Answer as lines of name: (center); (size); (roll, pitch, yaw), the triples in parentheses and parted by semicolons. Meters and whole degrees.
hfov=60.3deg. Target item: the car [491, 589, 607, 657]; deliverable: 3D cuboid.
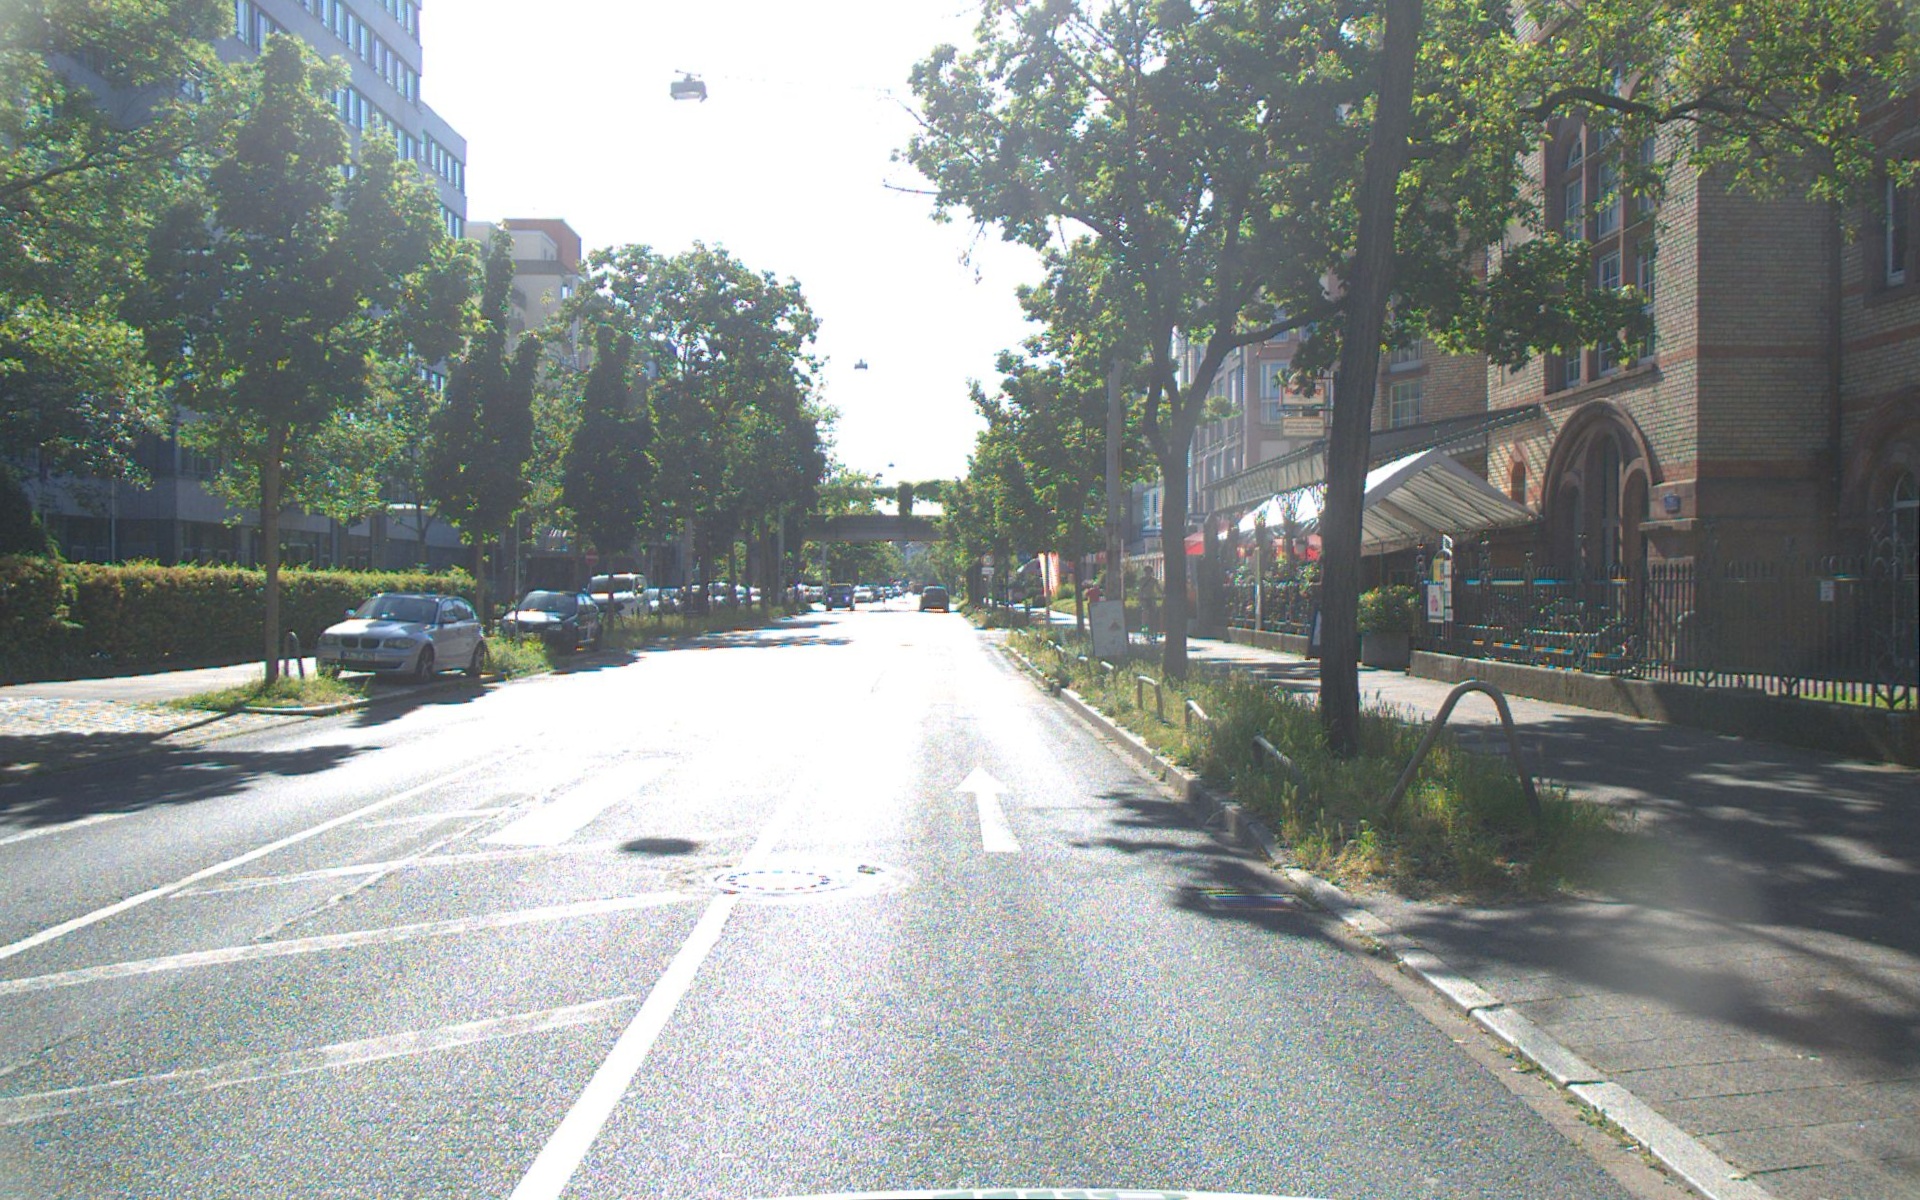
car: (-9.612, 0.509, 39.001); (1.677, 1.484, 4.072); (1, 0, 0)

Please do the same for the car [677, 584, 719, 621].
car: (-12.885, 0.111, 81.427); (1.820, 1.713, 4.658); (1, 0, -7)

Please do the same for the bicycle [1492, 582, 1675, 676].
bicycle: (8.043, 0.375, 21.374); (2.154, 1.199, 0.686); (0, -1, -8)

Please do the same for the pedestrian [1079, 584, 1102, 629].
pedestrian: (4.790, 0.235, 60.618); (0.641, 1.632, 0.602); (-3, 0, -7)

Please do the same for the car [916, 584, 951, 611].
car: (-1.636, -0.162, 100.801); (1.945, 1.628, 4.138); (1, 0, -3)

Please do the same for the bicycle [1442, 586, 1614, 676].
bicycle: (7.742, 0.423, 22.583); (2.154, 1.199, 0.686); (0, -1, -8)

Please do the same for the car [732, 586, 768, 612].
car: (-13.307, -0.067, 104.916); (1.818, 1.549, 4.317); (1, 0, -2)

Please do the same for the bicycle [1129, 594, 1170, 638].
bicycle: (4.548, 0.384, 39.758); (0.671, 1.045, 2.095); (0, -1, -2)

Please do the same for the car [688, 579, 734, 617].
car: (-13.115, -0.122, 87.341); (1.818, 1.882, 4.560); (1, 0, -2)

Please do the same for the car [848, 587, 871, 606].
car: (-8.716, -0.315, 143.995); (1.818, 1.595, 4.713); (-1, 0, -2)

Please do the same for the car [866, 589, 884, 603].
car: (-9.002, -0.435, 174.848); (1.818, 1.465, 4.317); (-2, 0, -2)

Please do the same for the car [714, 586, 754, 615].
car: (-13.000, 0.035, 95.372); (1.818, 1.595, 3.871); (1, 0, -1)

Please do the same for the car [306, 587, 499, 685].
car: (-9.225, 0.544, 27.719); (1.653, 1.407, 4.192); (4, 0, 1)

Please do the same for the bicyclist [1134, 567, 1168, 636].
bicyclist: (4.569, 0.032, 39.623); (0.686, 1.627, 0.954); (0, -1, -2)

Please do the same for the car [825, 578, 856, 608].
car: (-7.916, -0.478, 109.872); (1.818, 1.857, 4.608); (-1, 0, -2)

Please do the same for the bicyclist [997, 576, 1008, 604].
bicyclist: (2.678, -0.645, 104.653); (0.654, 1.725, 0.889); (1, -1, -2)

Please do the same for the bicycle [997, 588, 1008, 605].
bicycle: (2.661, -0.217, 104.829); (0.577, 1.045, 1.859); (0, -1, -2)

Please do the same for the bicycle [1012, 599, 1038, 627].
bicycle: (2.538, 0.497, 64.545); (0.578, 1.084, 2.024); (0, 0, 15)

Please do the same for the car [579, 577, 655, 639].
car: (-12.439, 0.257, 60.242); (1.942, 2.113, 5.193); (-2, 0, -4)
